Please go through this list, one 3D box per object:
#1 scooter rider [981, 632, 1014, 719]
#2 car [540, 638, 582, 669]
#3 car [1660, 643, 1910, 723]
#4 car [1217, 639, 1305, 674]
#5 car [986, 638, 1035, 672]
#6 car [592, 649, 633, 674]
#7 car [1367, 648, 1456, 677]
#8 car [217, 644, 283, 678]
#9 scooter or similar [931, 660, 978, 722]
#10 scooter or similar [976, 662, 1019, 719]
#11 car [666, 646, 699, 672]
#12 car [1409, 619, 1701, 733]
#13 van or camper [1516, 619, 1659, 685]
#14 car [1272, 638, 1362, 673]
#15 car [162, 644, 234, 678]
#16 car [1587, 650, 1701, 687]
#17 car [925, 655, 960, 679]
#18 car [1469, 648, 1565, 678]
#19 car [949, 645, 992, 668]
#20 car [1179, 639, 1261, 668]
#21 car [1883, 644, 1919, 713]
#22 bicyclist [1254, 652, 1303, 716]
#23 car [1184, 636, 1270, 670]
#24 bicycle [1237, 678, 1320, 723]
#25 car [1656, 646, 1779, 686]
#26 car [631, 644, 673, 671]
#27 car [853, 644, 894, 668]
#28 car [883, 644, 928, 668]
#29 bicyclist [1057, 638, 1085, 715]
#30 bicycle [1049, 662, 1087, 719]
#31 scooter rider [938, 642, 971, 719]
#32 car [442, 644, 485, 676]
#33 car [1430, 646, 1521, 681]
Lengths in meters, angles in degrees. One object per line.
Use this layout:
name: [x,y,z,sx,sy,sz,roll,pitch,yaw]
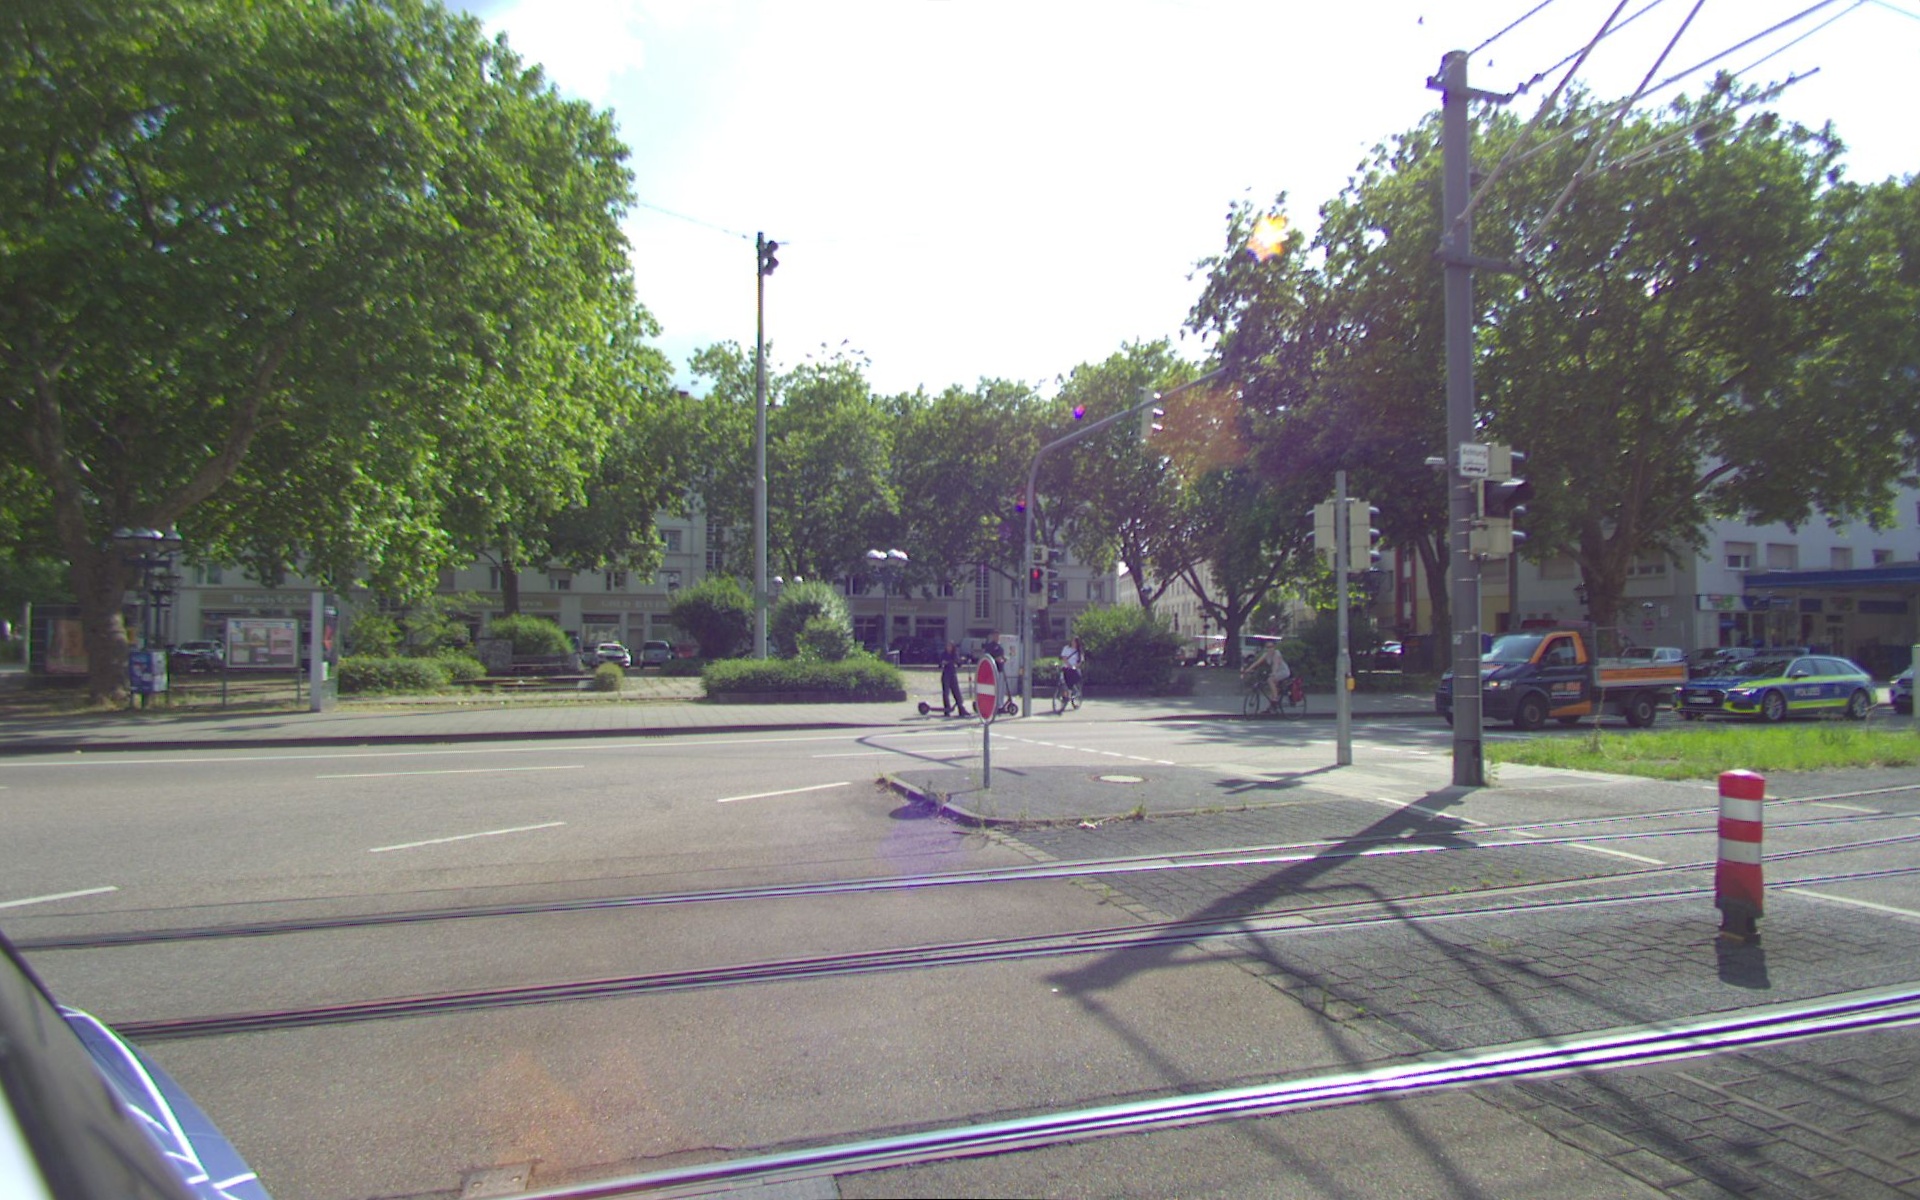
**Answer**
scooter rider: [0.816,1.622,21.885,0.671,1.824,0.544,1,-1,6]
car: [-22.712,3.003,57.531,1.965,1.697,4.013,1,-3,-24]
car: [18.511,1.823,22.727,5.064,1.665,1.878,1,-4,-19]
car: [18.976,3.599,63.822,5.162,2.103,2.006,1,-5,-24]
car: [3.232,3.609,65.790,2.218,2.029,3.942,0,-5,-12]
car: [-19.961,3.526,58.039,1.836,1.364,3.956,1,-3,-24]
car: [22.985,3.188,51.506,3.931,1.374,1.773,1,-5,-20]
car: [-36.954,3.154,52.797,1.819,1.672,4.096,1,-3,-21]
scooter or similar: [-0.118,1.928,21.588,0.536,1.235,0.878,2,-2,-41]
scooter or similar: [0.813,1.945,21.882,0.866,1.180,0.544,1,-1,7]
car: [-19.240,4.071,70.146,1.819,1.672,4.096,1,-3,-21]
car: [11.958,1.457,20.371,5.243,2.002,2.088,0,-2,-19]
van or camper: [26.726,2.248,43.149,5.257,2.662,2.115,1,-5,-18]
car: [20.763,3.223,58.884,4.601,1.949,2.006,1,-5,-20]
car: [-39.036,3.106,51.942,1.819,1.672,4.096,1,-3,-21]
car: [27.201,2.696,40.257,3.931,1.421,1.763,1,-3,-20]
car: [-1.364,5.019,75.722,1.901,1.680,3.744,0,-5,-12]
car: [25.069,2.854,45.560,3.931,1.304,1.483,1,-5,-20]
car: [0.740,4.248,76.905,1.819,1.672,4.096,1,-3,-22]
car: [17.659,3.640,68.812,5.162,1.887,2.006,1,-5,-22]
car: [25.270,1.875,24.891,4.598,1.619,1.771,0,-2,-19]
bicyclist: [6.956,1.824,22.112,0.894,1.354,0.472,0,-3,-11]
car: [17.466,3.463,66.206,5.162,2.103,2.006,1,-5,-22]
bicycle: [6.947,2.192,22.094,1.689,0.928,0.472,0,-3,-11]
car: [28.238,2.433,37.727,3.931,1.421,1.763,1,-3,-20]
car: [-18.097,3.325,59.416,1.836,1.530,3.956,1,-3,-24]
car: [-6.355,4.085,73.965,1.819,1.672,4.096,1,-3,-22]
car: [-4.065,4.137,74.907,2.046,1.672,4.096,1,-3,-22]
bicyclist: [2.524,1.723,22.908,0.503,1.681,0.580,0,0,20]
bicycle: [2.430,2.006,22.644,0.503,1.121,1.620,0,0,19]
scooter rider: [-0.122,1.706,21.600,0.536,1.605,0.438,2,-2,-41]
car: [-27.258,3.260,55.689,1.819,1.672,4.097,1,-3,-22]
car: [24.585,3.023,48.234,3.931,1.616,1.535,1,-4,-20]
